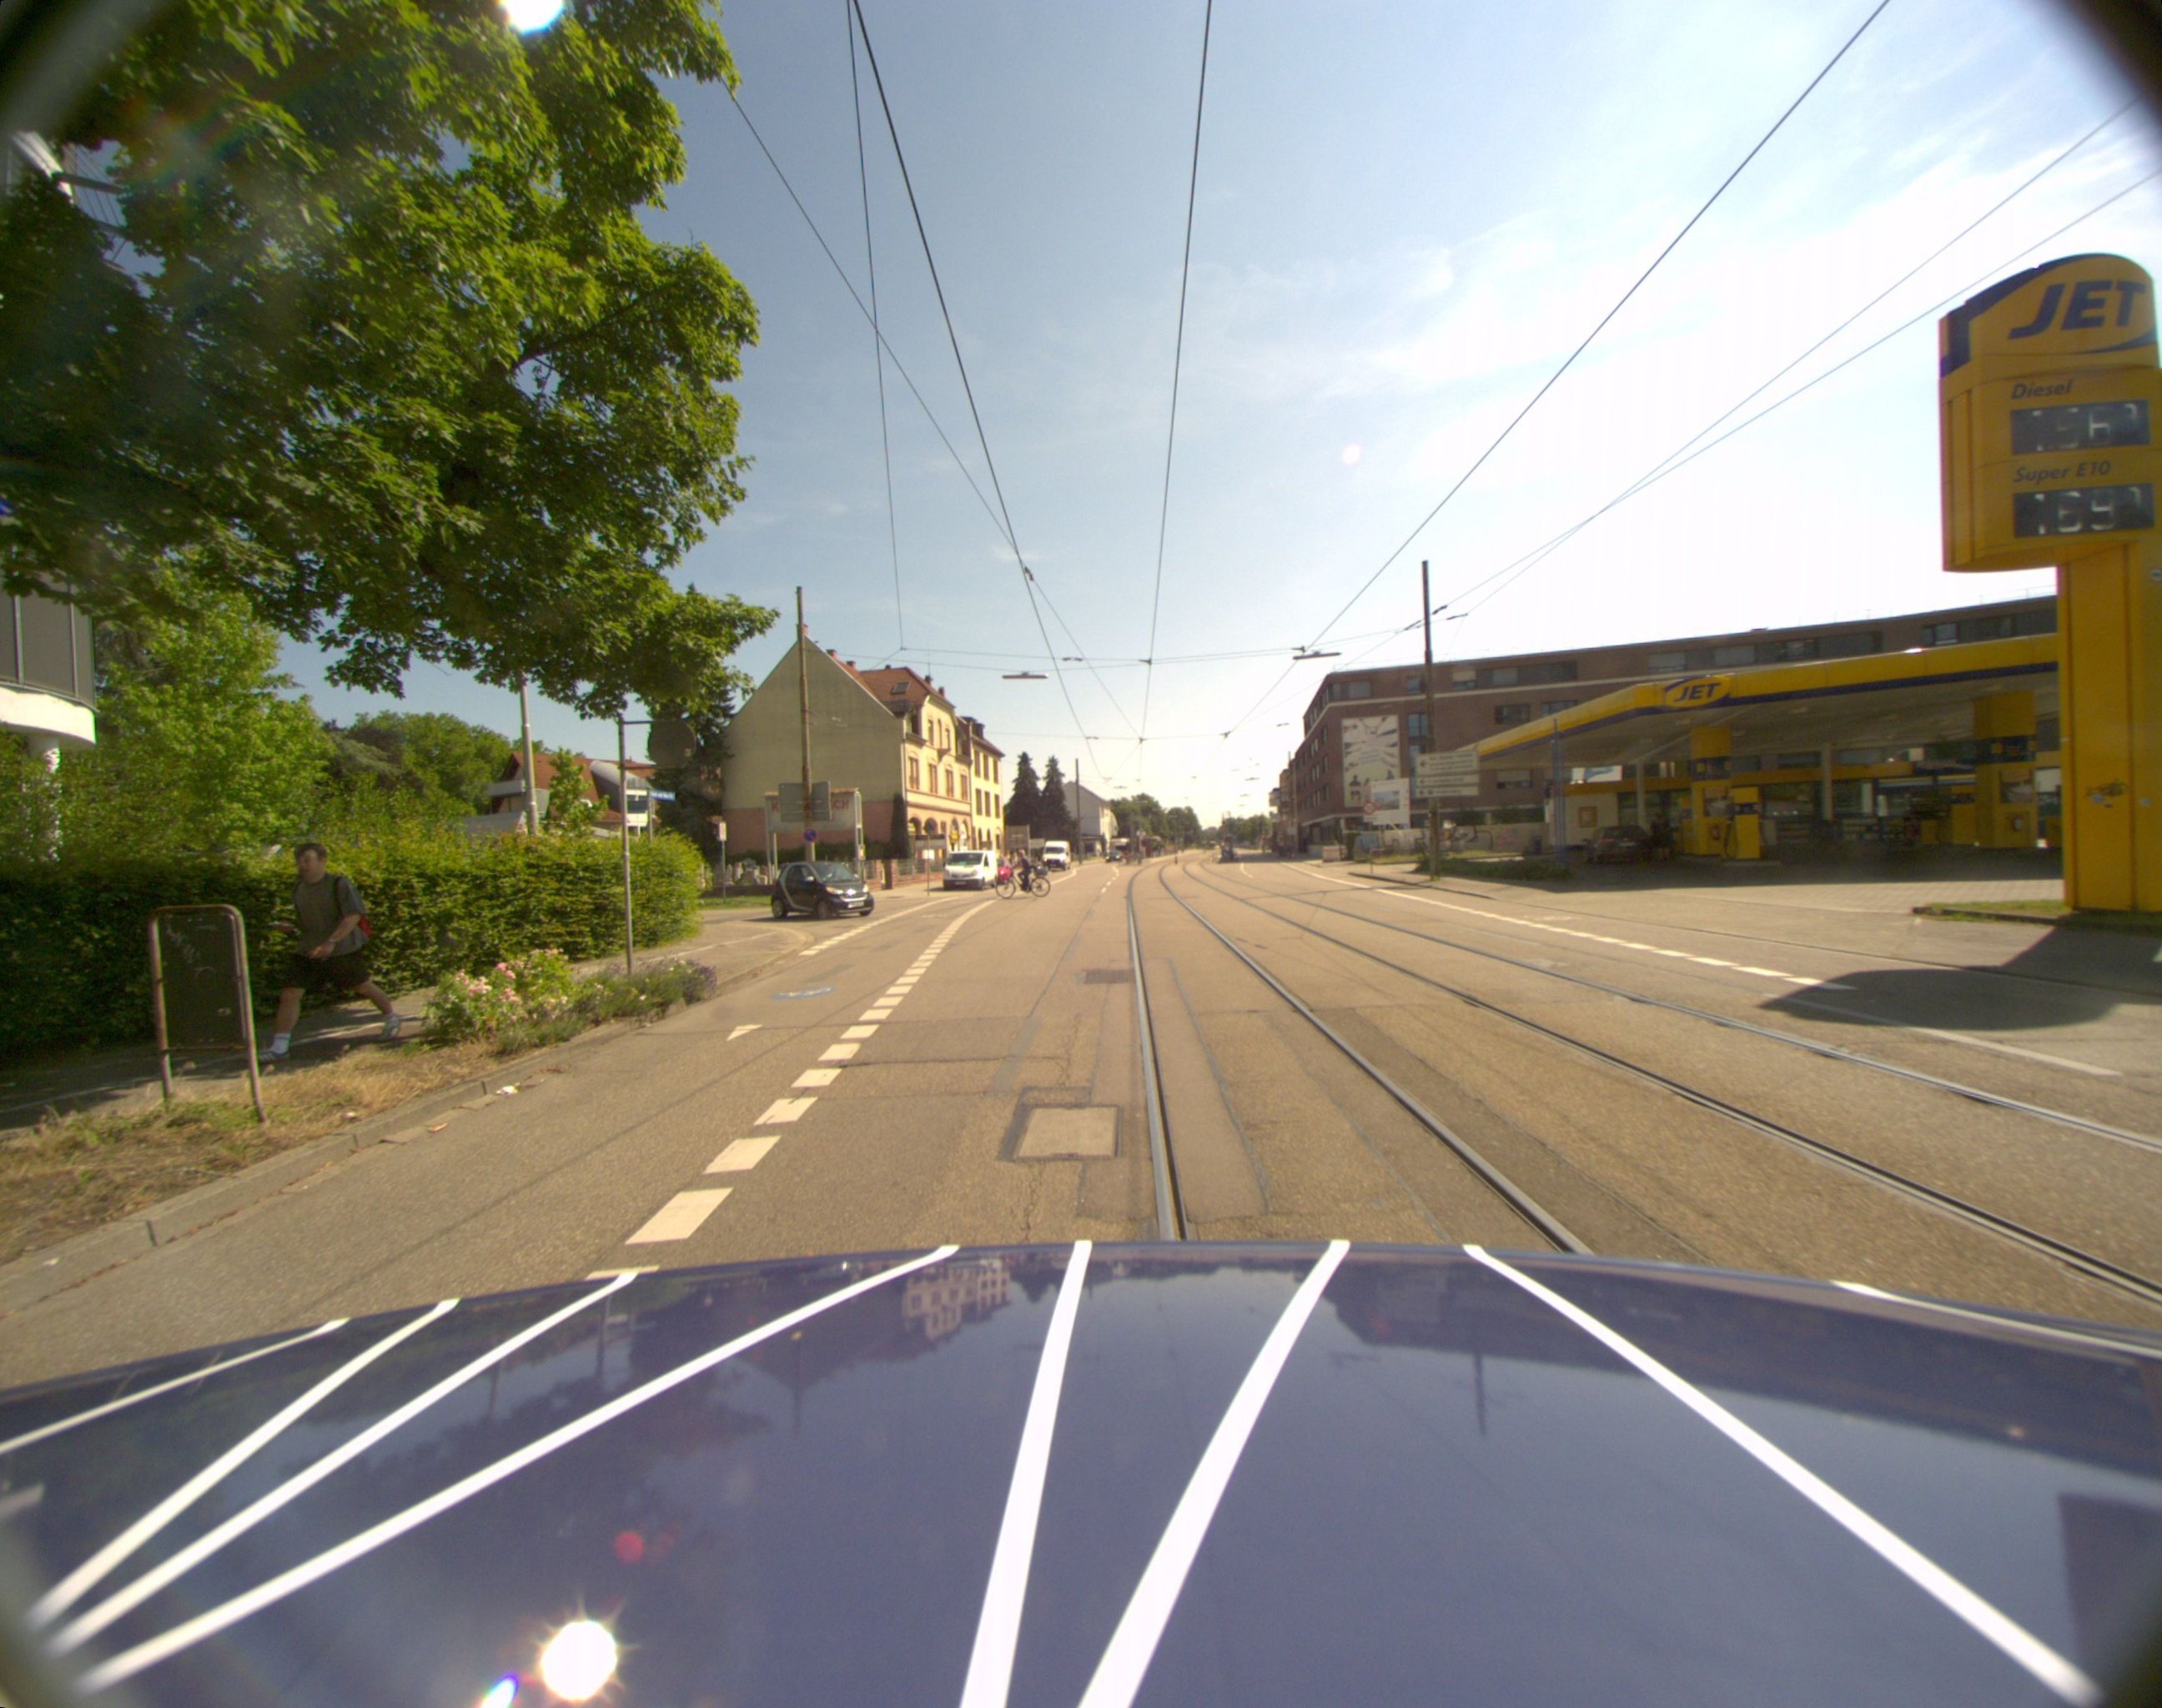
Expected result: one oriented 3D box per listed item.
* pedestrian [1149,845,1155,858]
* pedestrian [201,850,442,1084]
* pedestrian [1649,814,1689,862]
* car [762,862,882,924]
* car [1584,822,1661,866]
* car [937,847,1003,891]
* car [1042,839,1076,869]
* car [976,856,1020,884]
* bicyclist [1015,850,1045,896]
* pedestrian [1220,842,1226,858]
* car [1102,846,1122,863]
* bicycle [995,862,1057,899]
[{"bbox_3d":[9.278,-0.297,99.908,0.707,1.680,0.416,-2,1,3],"label":"pedestrian"},{"bbox_3d":[-6.447,0.890,6.540,0.892,1.807,1.073,-3,1,-3],"label":"pedestrian"},{"bbox_3d":[21.733,-0.590,28.083,0.857,1.715,0.745,-3,1,6],"label":"pedestrian"},{"bbox_3d":[-7.045,1.028,20.615,2.968,1.530,1.482,-2,1,32],"label":"car"},{"bbox_3d":[21.283,-0.374,30.018,1.757,1.446,4.417,-6,-2,27],"label":"car"},{"bbox_3d":[-5.352,0.674,37.457,2.088,2.002,4.909,-1,0,5],"label":"car"},{"bbox_3d":[-1.888,-0.042,67.289,2.334,2.521,6.508,0,1,5],"label":"car"},{"bbox_3d":[-4.717,0.882,43.658,1.724,1.398,4.002,-3,1,4],"label":"car"},{"bbox_3d":[-1.804,0.656,26.791,0.964,1.586,0.906,-2,1,-2],"label":"bicyclist"},{"bbox_3d":[15.238,-0.450,81.534,0.557,1.750,0.793,-3,1,5],"label":"pedestrian"},{"bbox_3d":[3.743,0.033,91.213,1.997,2.002,4.001,-2,1,7],"label":"car"},{"bbox_3d":[-1.935,0.927,26.852,2.122,1.190,0.611,-3,1,-3],"label":"bicycle"}]
